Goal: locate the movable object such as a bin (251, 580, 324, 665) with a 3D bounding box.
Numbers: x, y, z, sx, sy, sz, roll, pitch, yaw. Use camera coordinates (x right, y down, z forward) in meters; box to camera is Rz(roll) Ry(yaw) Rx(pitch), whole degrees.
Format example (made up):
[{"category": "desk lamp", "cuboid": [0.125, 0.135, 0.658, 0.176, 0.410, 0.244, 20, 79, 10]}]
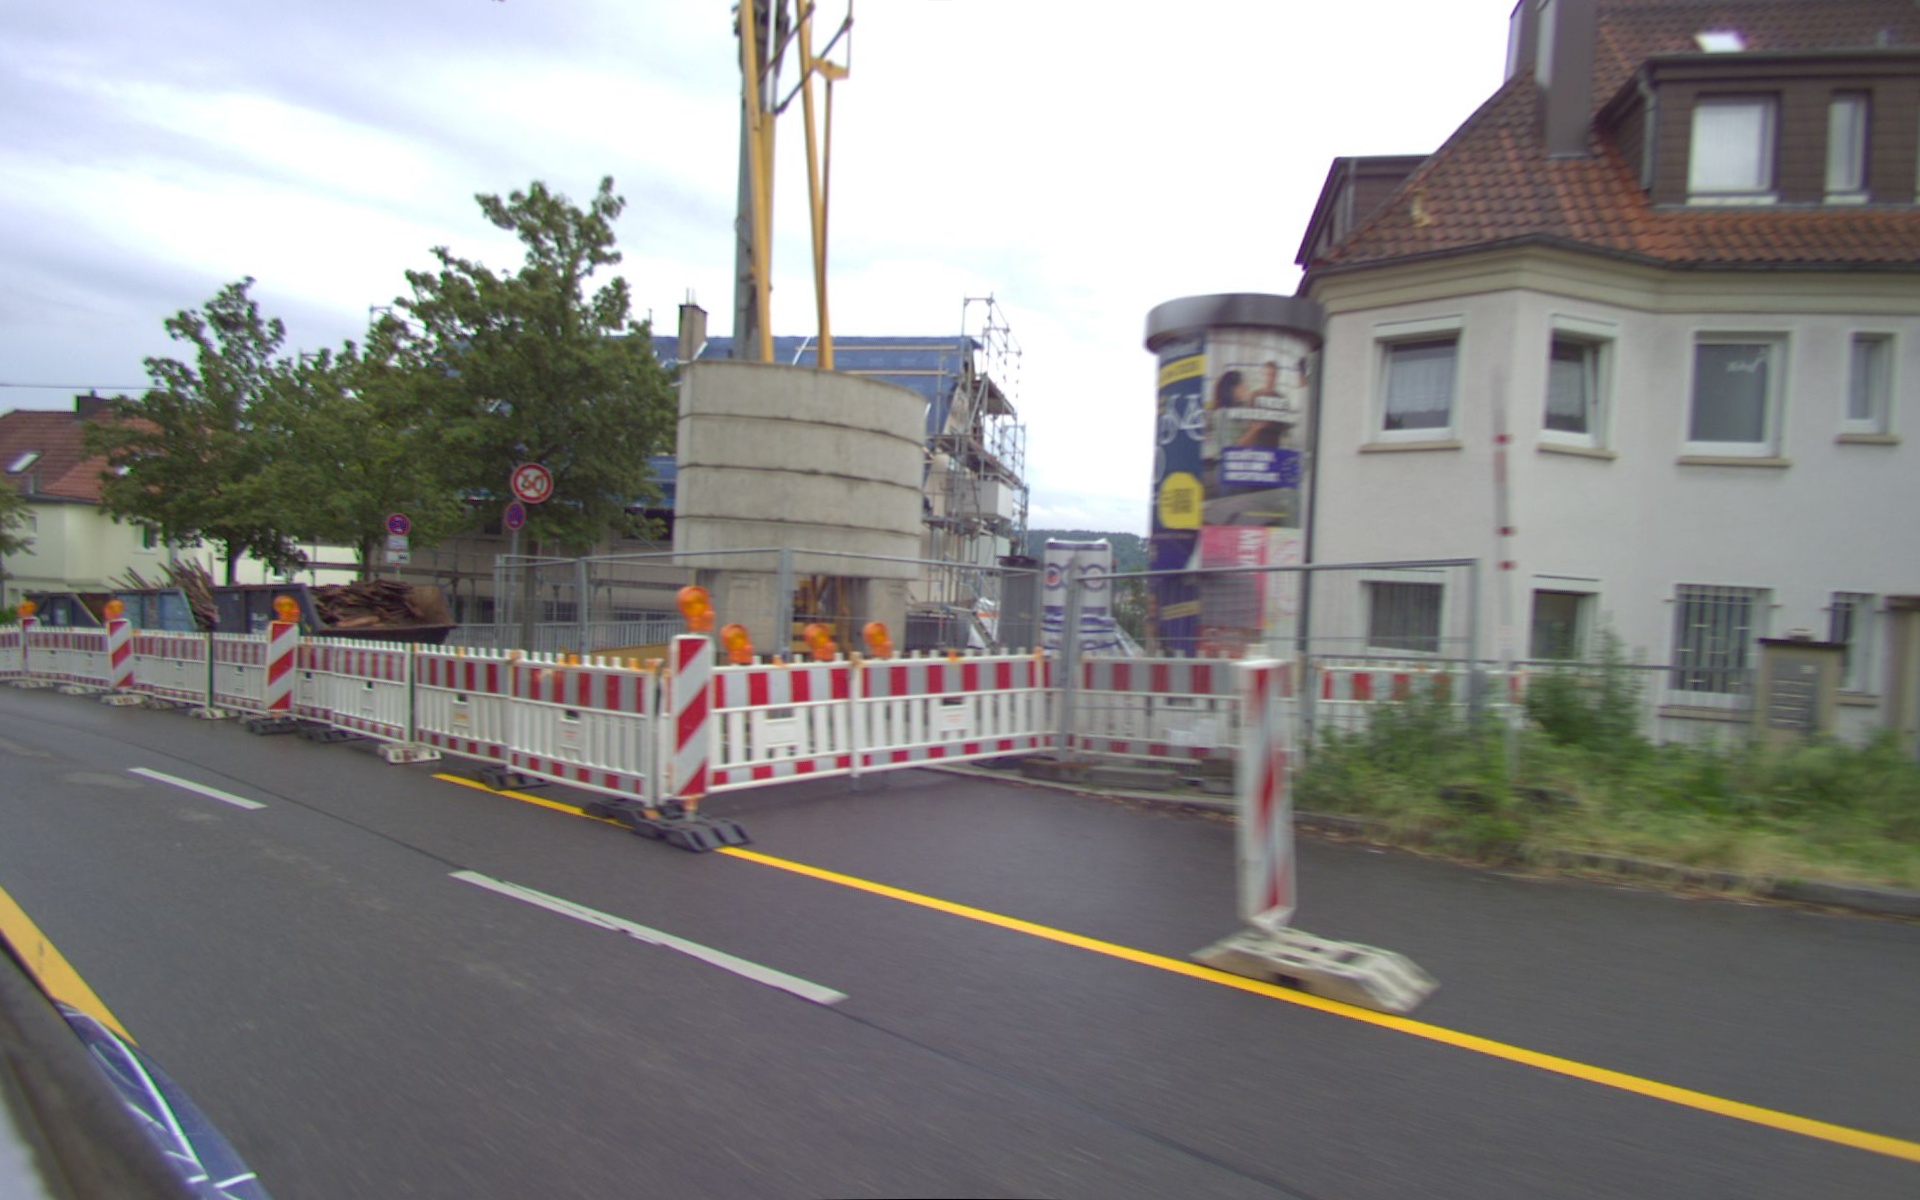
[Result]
[{"category": "movable object such as a bin", "cuboid": [-20.617, 0.677, 31.049, 1.374, 2.524, 1.310, -1, 0, 17]}]
